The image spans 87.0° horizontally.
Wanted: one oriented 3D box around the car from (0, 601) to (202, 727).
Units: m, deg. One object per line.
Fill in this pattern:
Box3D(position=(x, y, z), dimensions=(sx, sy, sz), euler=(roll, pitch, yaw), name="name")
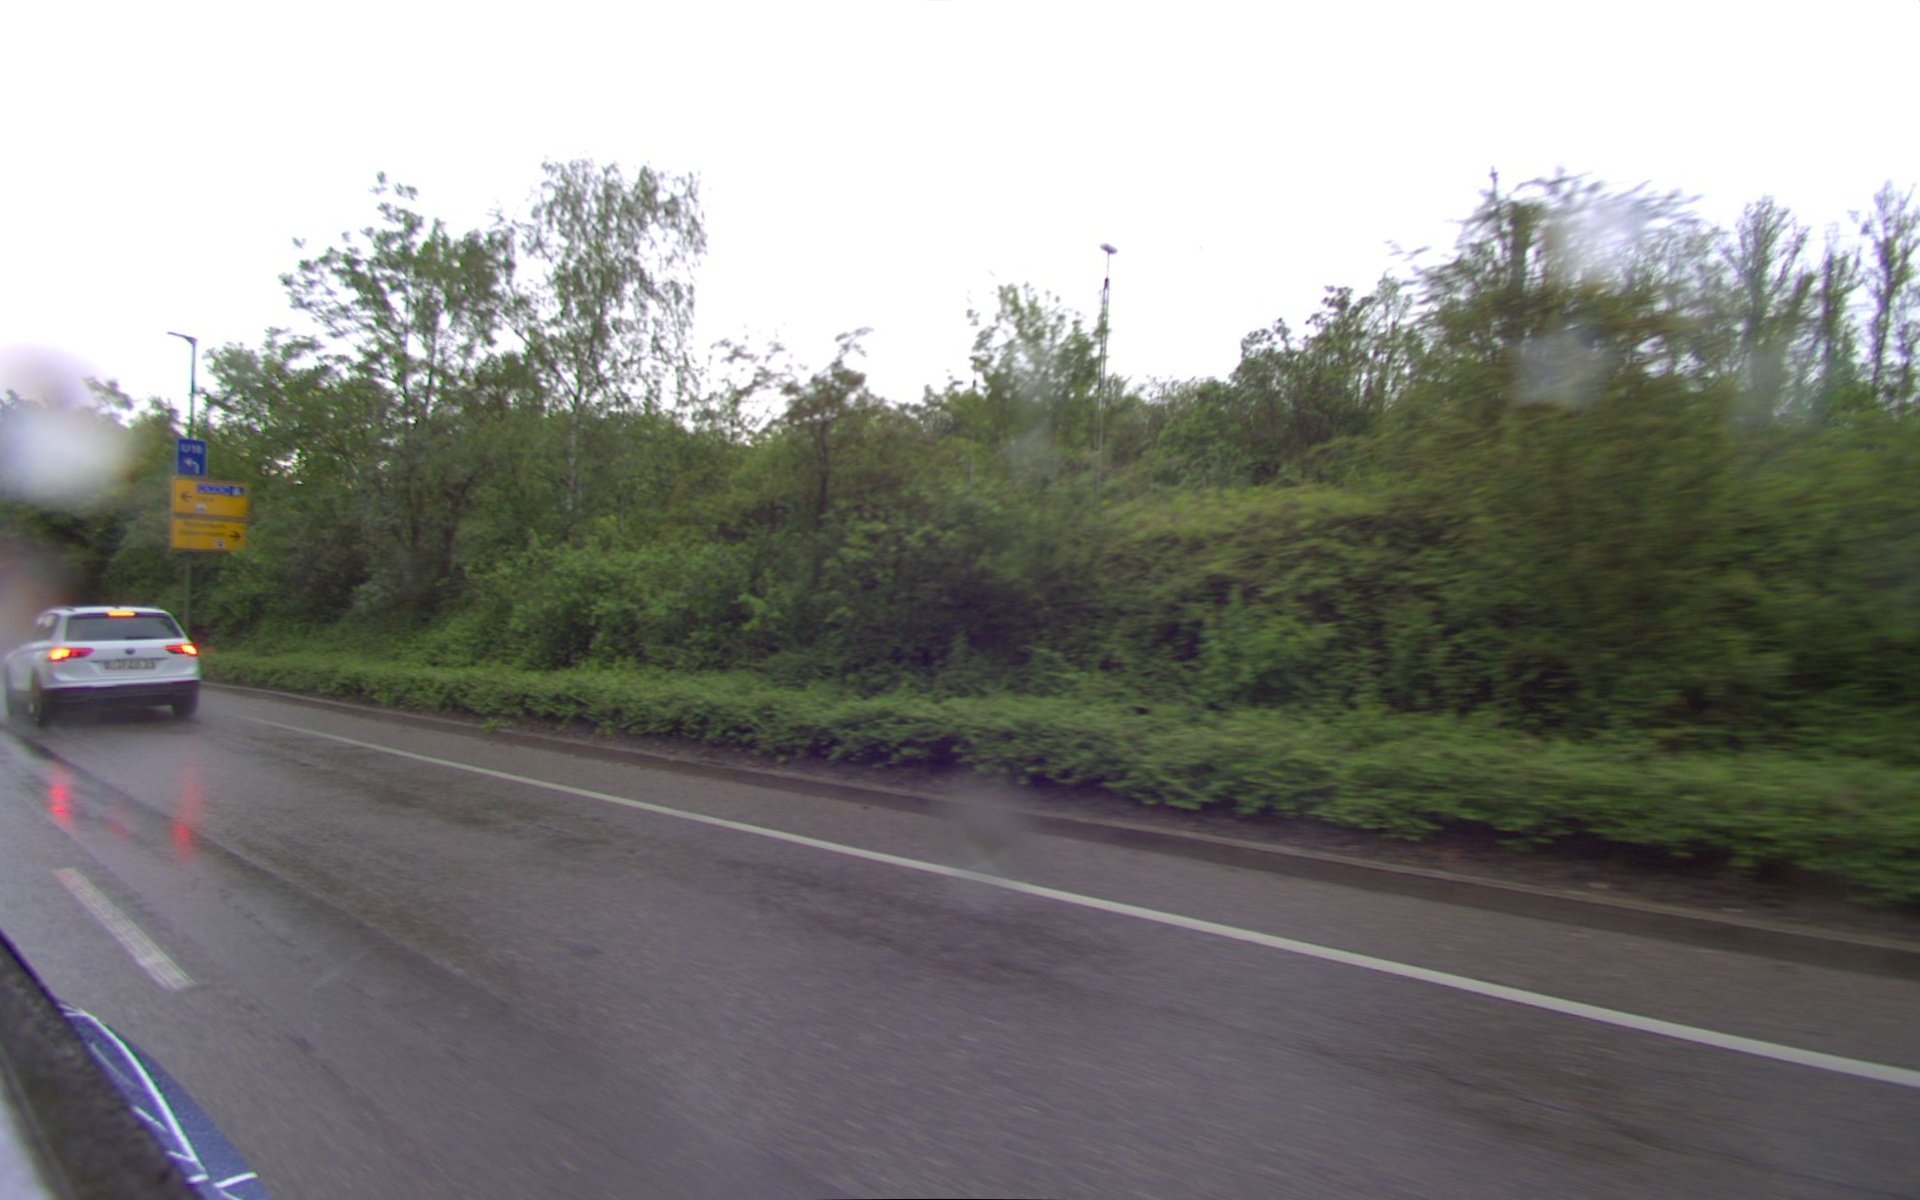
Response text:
Box3D(position=(-12.983, 0.862, 15.119), dimensions=(4.090, 1.627, 1.804), euler=(-1, -1, 40), name="car")
